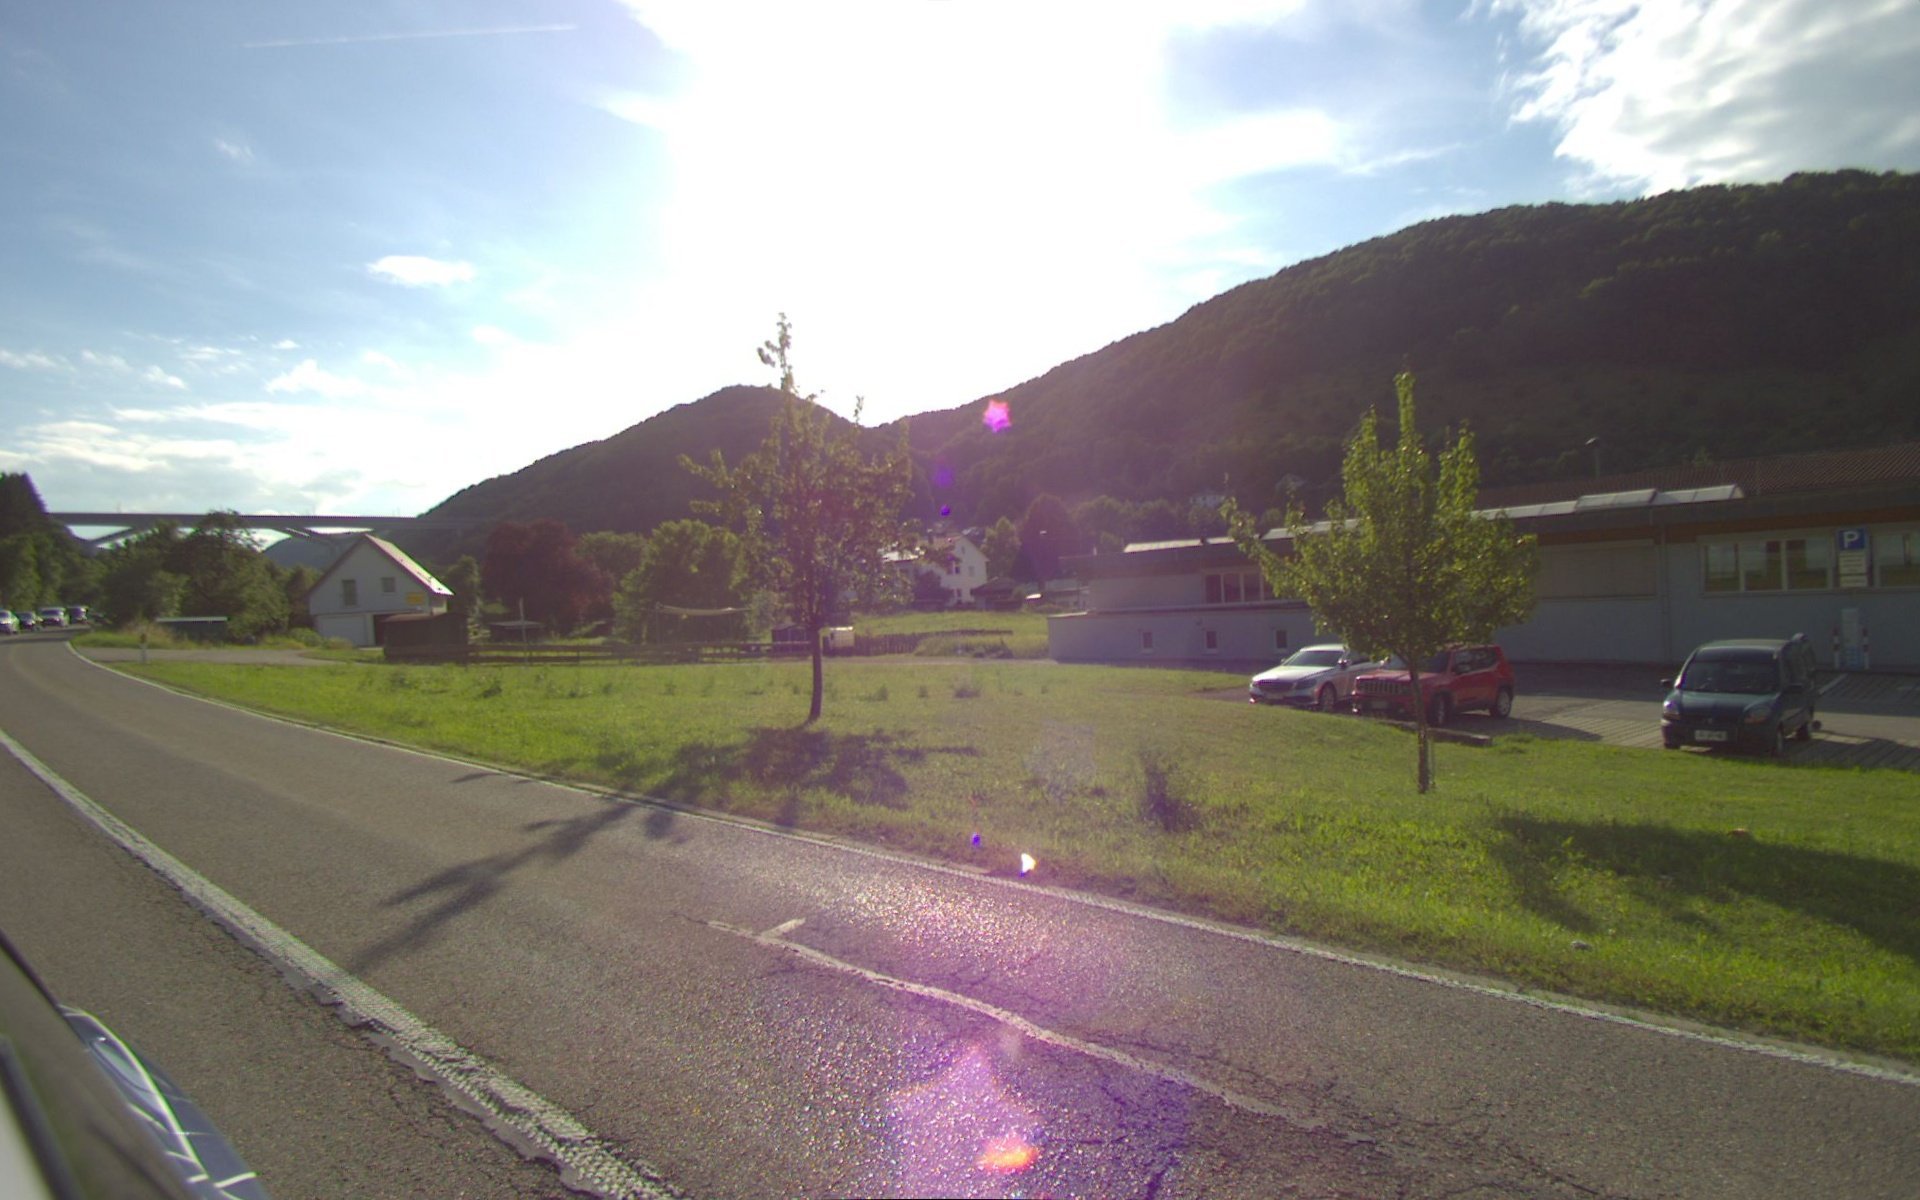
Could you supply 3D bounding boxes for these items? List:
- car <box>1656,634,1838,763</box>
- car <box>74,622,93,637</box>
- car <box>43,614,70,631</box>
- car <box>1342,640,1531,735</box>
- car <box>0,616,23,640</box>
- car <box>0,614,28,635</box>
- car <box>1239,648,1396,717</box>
[{"bbox_3d":[13.986,1.589,17.873,4.931,1.807,1.687,-1,0,-42],"label":"car"},{"bbox_3d":[-98.939,3.312,114.272,1.606,1.490,3.685,-1,0,-41],"label":"car"},{"bbox_3d":[-80.942,1.977,90.699,1.607,1.490,3.681,-1,0,-45],"label":"car"},{"bbox_3d":[10.337,1.801,21.855,4.264,1.682,1.852,-1,0,-36],"label":"car"},{"bbox_3d":[-62.403,1.792,65.958,3.679,1.490,1.608,-1,0,42],"label":"car"},{"bbox_3d":[-71.903,1.851,76.817,1.606,1.490,3.685,-1,0,-41],"label":"car"},{"bbox_3d":[8.690,1.931,24.506,3.837,1.379,1.856,0,-1,-39],"label":"car"}]
